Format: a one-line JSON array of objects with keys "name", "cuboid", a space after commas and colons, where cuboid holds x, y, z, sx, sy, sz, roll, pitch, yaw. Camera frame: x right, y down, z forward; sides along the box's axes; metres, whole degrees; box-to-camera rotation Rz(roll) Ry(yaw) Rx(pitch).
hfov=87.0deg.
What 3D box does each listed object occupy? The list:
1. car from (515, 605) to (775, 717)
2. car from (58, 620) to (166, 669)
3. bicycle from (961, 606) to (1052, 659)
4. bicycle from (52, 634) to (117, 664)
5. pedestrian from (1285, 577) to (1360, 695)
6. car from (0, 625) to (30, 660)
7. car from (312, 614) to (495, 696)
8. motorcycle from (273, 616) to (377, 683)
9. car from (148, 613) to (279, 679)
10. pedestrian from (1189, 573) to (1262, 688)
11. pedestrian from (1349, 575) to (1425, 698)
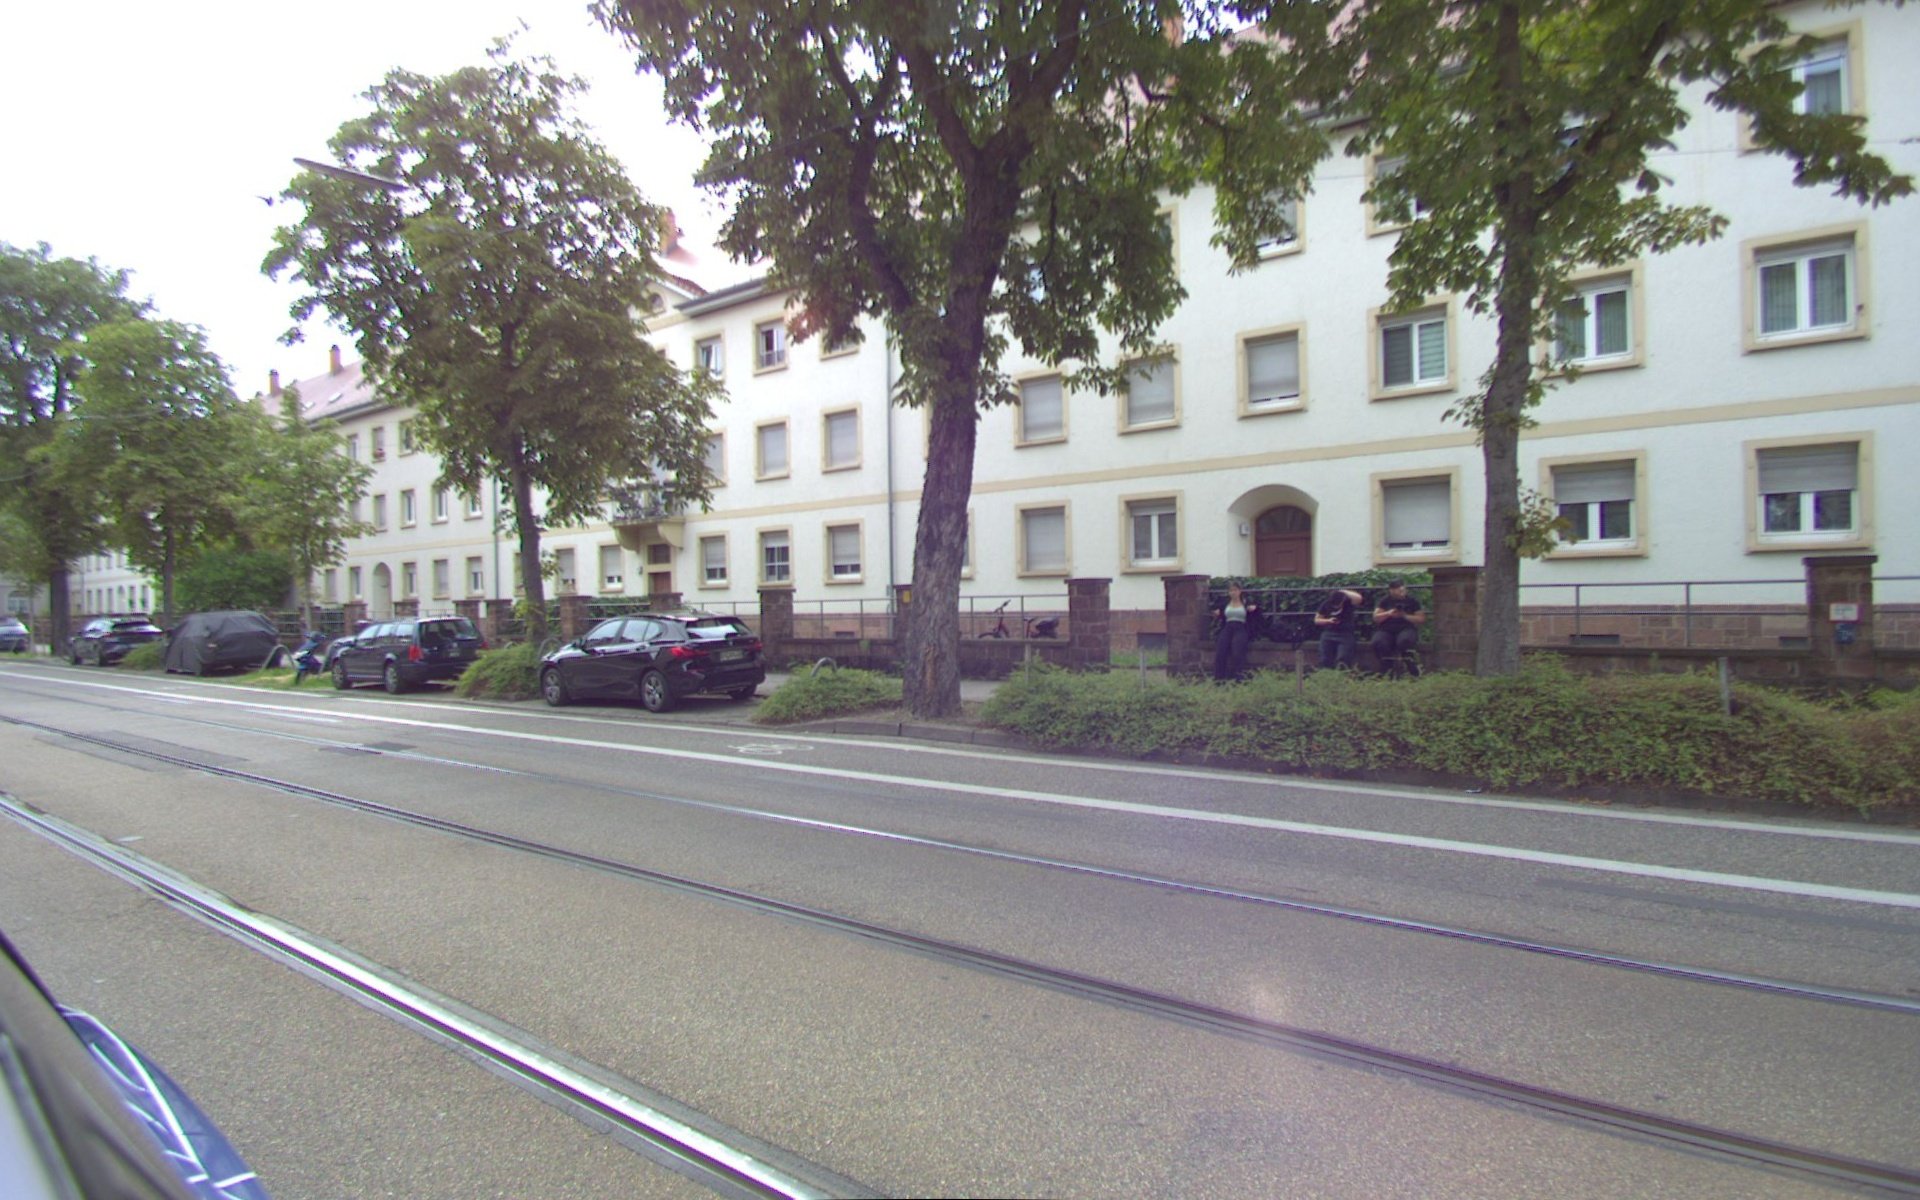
[{"name": "car", "cuboid": [-5.048, 0.891, 15.964, 4.293, 1.434, 1.681, -2, 3, 38]}, {"name": "car", "cuboid": [-27.920, 1.429, 33.291, 4.290, 1.481, 1.682, -1, 0, 35]}, {"name": "bicycle", "cuboid": [0.793, 0.557, 17.409, 1.548, 0.869, 0.504, -2, -1, 38]}, {"name": "bicycle", "cuboid": [-31.451, 1.759, 36.374, 0.670, 0.978, 1.656, -1, 0, 28]}, {"name": "pedestrian", "cuboid": [4.728, 0.451, 13.172, 0.730, 1.476, 0.826, -2, -1, 32]}, {"name": "car", "cuboid": [-43.122, 1.880, 45.024, 4.290, 1.481, 1.682, -1, 0, 35]}, {"name": "car", "cuboid": [-11.464, 1.077, 20.735, 4.293, 1.434, 1.681, -2, 1, 38]}, {"name": "motorcycle", "cuboid": [-14.509, 1.103, 23.181, 0.590, 1.269, 1.852, -2, 5, 33]}, {"name": "car", "cuboid": [-20.502, 1.219, 27.729, 4.293, 1.624, 1.769, -2, 0, 38]}, {"name": "pedestrian", "cuboid": [3.667, 0.414, 13.944, 0.730, 1.524, 0.826, -2, -1, 32]}, {"name": "pedestrian", "cuboid": [5.379, 0.446, 12.731, 0.730, 1.476, 0.826, -2, -1, 32]}]
